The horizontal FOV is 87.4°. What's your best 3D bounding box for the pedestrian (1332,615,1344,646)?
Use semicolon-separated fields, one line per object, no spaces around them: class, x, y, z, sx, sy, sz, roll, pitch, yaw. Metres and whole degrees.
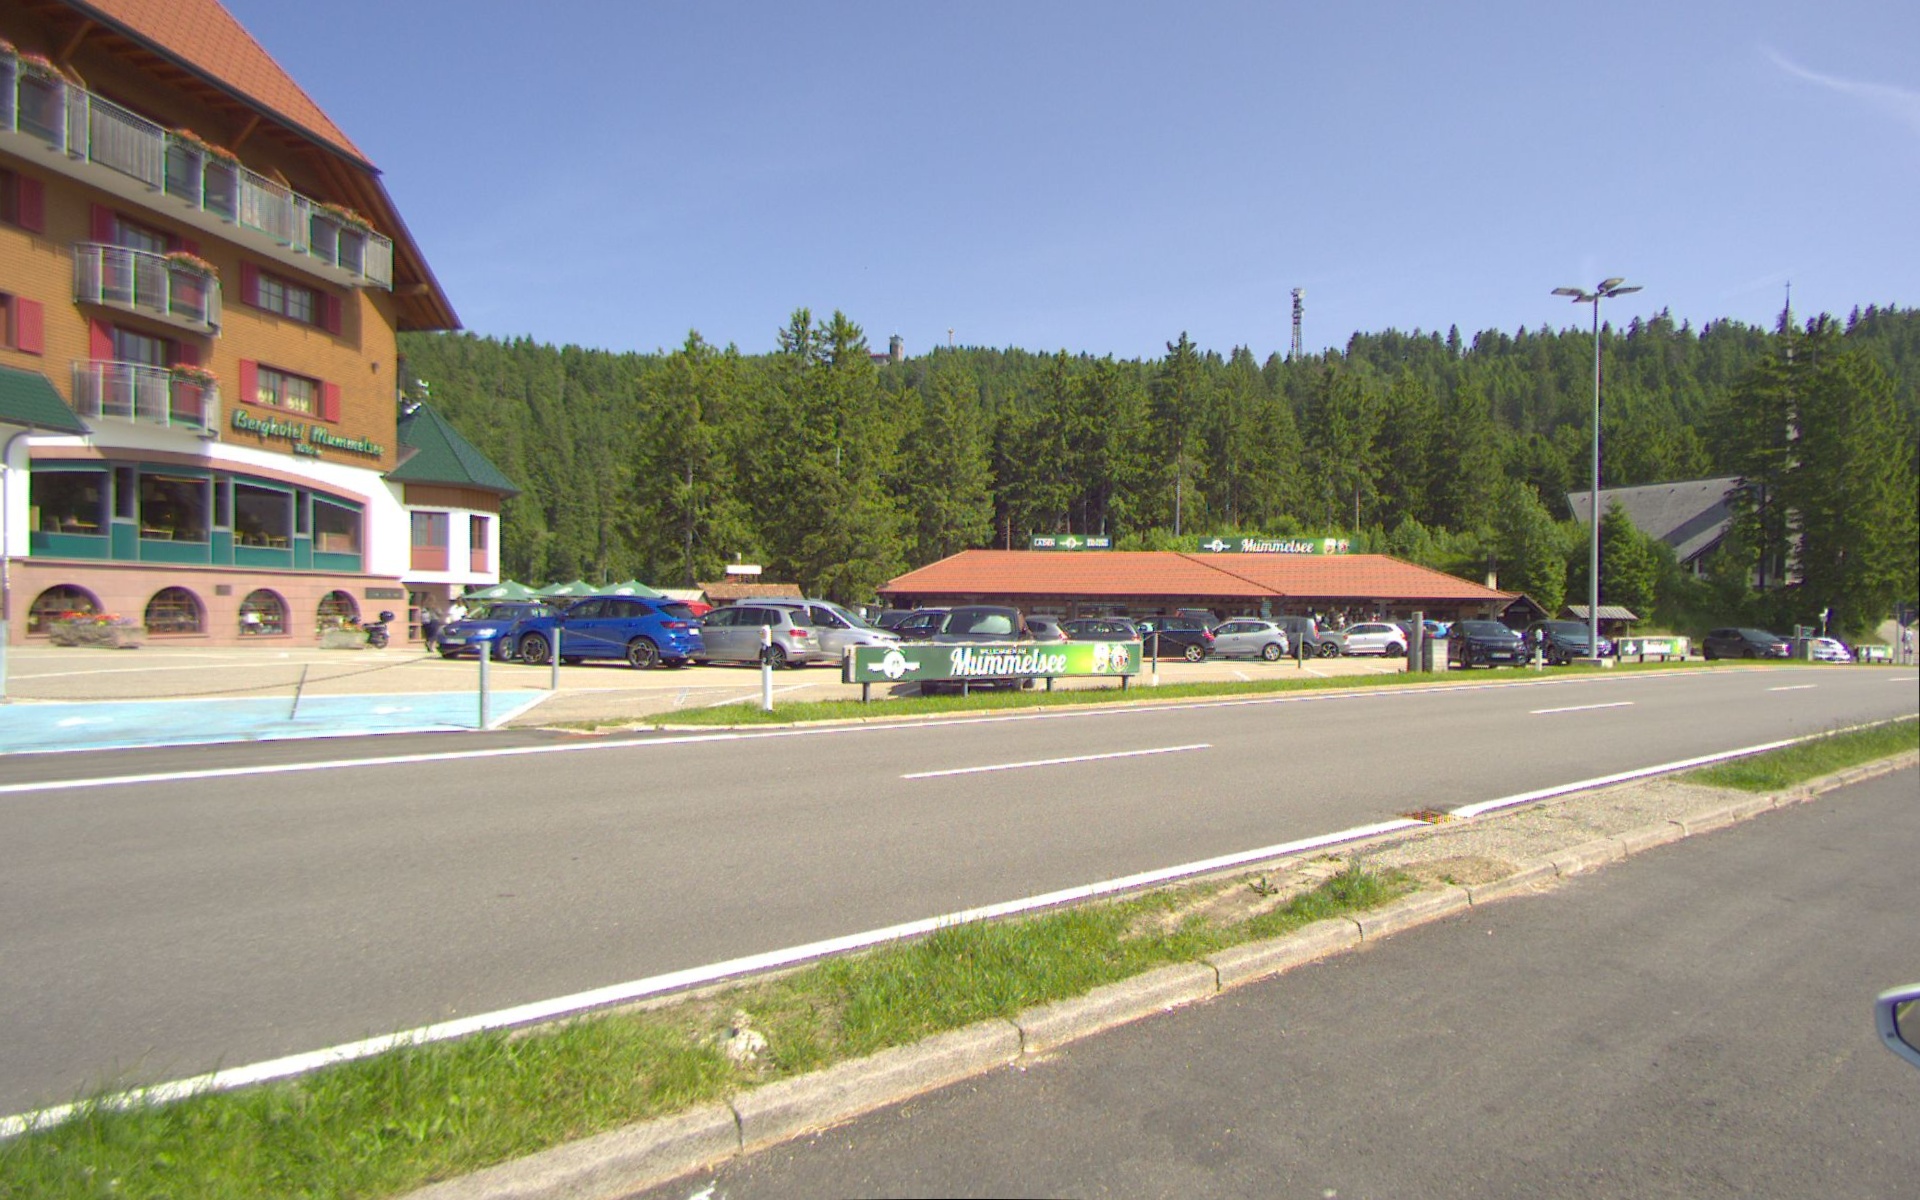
pedestrian;23.551;1.882;62.609;0.517;1.898;0.547;2;0;7

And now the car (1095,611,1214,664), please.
car;6.720;1.257;34.565;3.919;1.726;1.827;0;-1;14

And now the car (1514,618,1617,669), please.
car;21.062;1.462;35.103;1.705;1.588;4.062;1;0;10

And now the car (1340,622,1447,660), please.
car;18.928;1.758;43.995;3.919;1.595;2.001;0;-1;9

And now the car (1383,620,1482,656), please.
car;22.694;1.819;48.319;3.949;1.694;1.778;0;-2;8

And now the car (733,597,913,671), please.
car;-3.653;0.891;27.088;4.438;1.888;1.836;0;-1;11

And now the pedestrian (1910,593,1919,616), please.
pedestrian;83.874;0.410;88.061;0.848;2.040;0.807;1;-1;-44

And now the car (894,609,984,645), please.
car;-0.910;1.185;44.973;3.802;1.550;1.911;0;-1;7

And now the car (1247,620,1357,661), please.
car;13.685;1.593;40.403;3.919;1.565;1.900;0;-1;10

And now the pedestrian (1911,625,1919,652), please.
pedestrian;64.079;2.588;67.182;0.638;1.823;0.646;1;0;-42

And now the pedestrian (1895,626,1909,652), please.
pedestrian;63.533;2.634;67.758;0.638;1.688;0.646;4;-2;-42

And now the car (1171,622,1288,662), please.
car;9.705;1.491;36.402;3.919;1.389;1.813;0;-1;9

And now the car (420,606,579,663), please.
car;-11.607;0.834;25.616;1.679;1.314;4.003;0;-1;11

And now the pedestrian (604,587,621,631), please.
pedestrian;-18.581;0.483;53.735;0.803;2.314;0.728;-2;0;-19

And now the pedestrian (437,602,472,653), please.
pedestrian;-15.233;0.820;30.290;0.613;1.509;0.703;0;0;17

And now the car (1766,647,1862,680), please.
car;42.084;3.084;49.623;1.708;1.460;3.973;0;-1;7

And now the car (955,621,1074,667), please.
car;1.712;1.336;30.941;3.565;1.339;1.589;0;-1;7

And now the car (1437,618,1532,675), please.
car;16.002;1.366;30.822;1.747;1.572;4.002;0;-1;15

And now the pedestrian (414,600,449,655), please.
pedestrian;-16.022;0.821;30.456;0.613;1.654;0.703;0;0;17

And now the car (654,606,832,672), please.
car;-5.447;0.955;25.453;3.919;1.566;2.001;0;-1;11

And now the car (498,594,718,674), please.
car;-8.196;0.762;23.585;4.453;1.686;1.941;1;0;9

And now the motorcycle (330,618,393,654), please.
motorcycle;-19.372;1.153;32.503;1.755;0.999;0.480;4;6;1

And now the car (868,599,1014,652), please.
car;-0.487;0.711;28.841;3.919;1.449;1.915;0;-1;8

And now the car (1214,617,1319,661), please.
car;11.703;1.465;38.507;3.657;1.609;1.736;0;-1;9

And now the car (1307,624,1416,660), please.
car;16.710;1.726;42.013;3.919;1.439;1.909;0;-1;9

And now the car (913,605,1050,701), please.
car;0.519;0.891;18.592;1.771;1.561;4.195;0;-1;12

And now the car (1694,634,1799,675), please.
car;36.395;2.480;46.633;1.753;1.655;4.213;2;-1;4

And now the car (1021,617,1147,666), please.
car;4.073;1.329;32.856;3.996;1.506;1.717;0;-1;9

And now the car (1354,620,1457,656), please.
car;20.452;1.744;46.264;3.919;1.595;2.001;0;-1;9
